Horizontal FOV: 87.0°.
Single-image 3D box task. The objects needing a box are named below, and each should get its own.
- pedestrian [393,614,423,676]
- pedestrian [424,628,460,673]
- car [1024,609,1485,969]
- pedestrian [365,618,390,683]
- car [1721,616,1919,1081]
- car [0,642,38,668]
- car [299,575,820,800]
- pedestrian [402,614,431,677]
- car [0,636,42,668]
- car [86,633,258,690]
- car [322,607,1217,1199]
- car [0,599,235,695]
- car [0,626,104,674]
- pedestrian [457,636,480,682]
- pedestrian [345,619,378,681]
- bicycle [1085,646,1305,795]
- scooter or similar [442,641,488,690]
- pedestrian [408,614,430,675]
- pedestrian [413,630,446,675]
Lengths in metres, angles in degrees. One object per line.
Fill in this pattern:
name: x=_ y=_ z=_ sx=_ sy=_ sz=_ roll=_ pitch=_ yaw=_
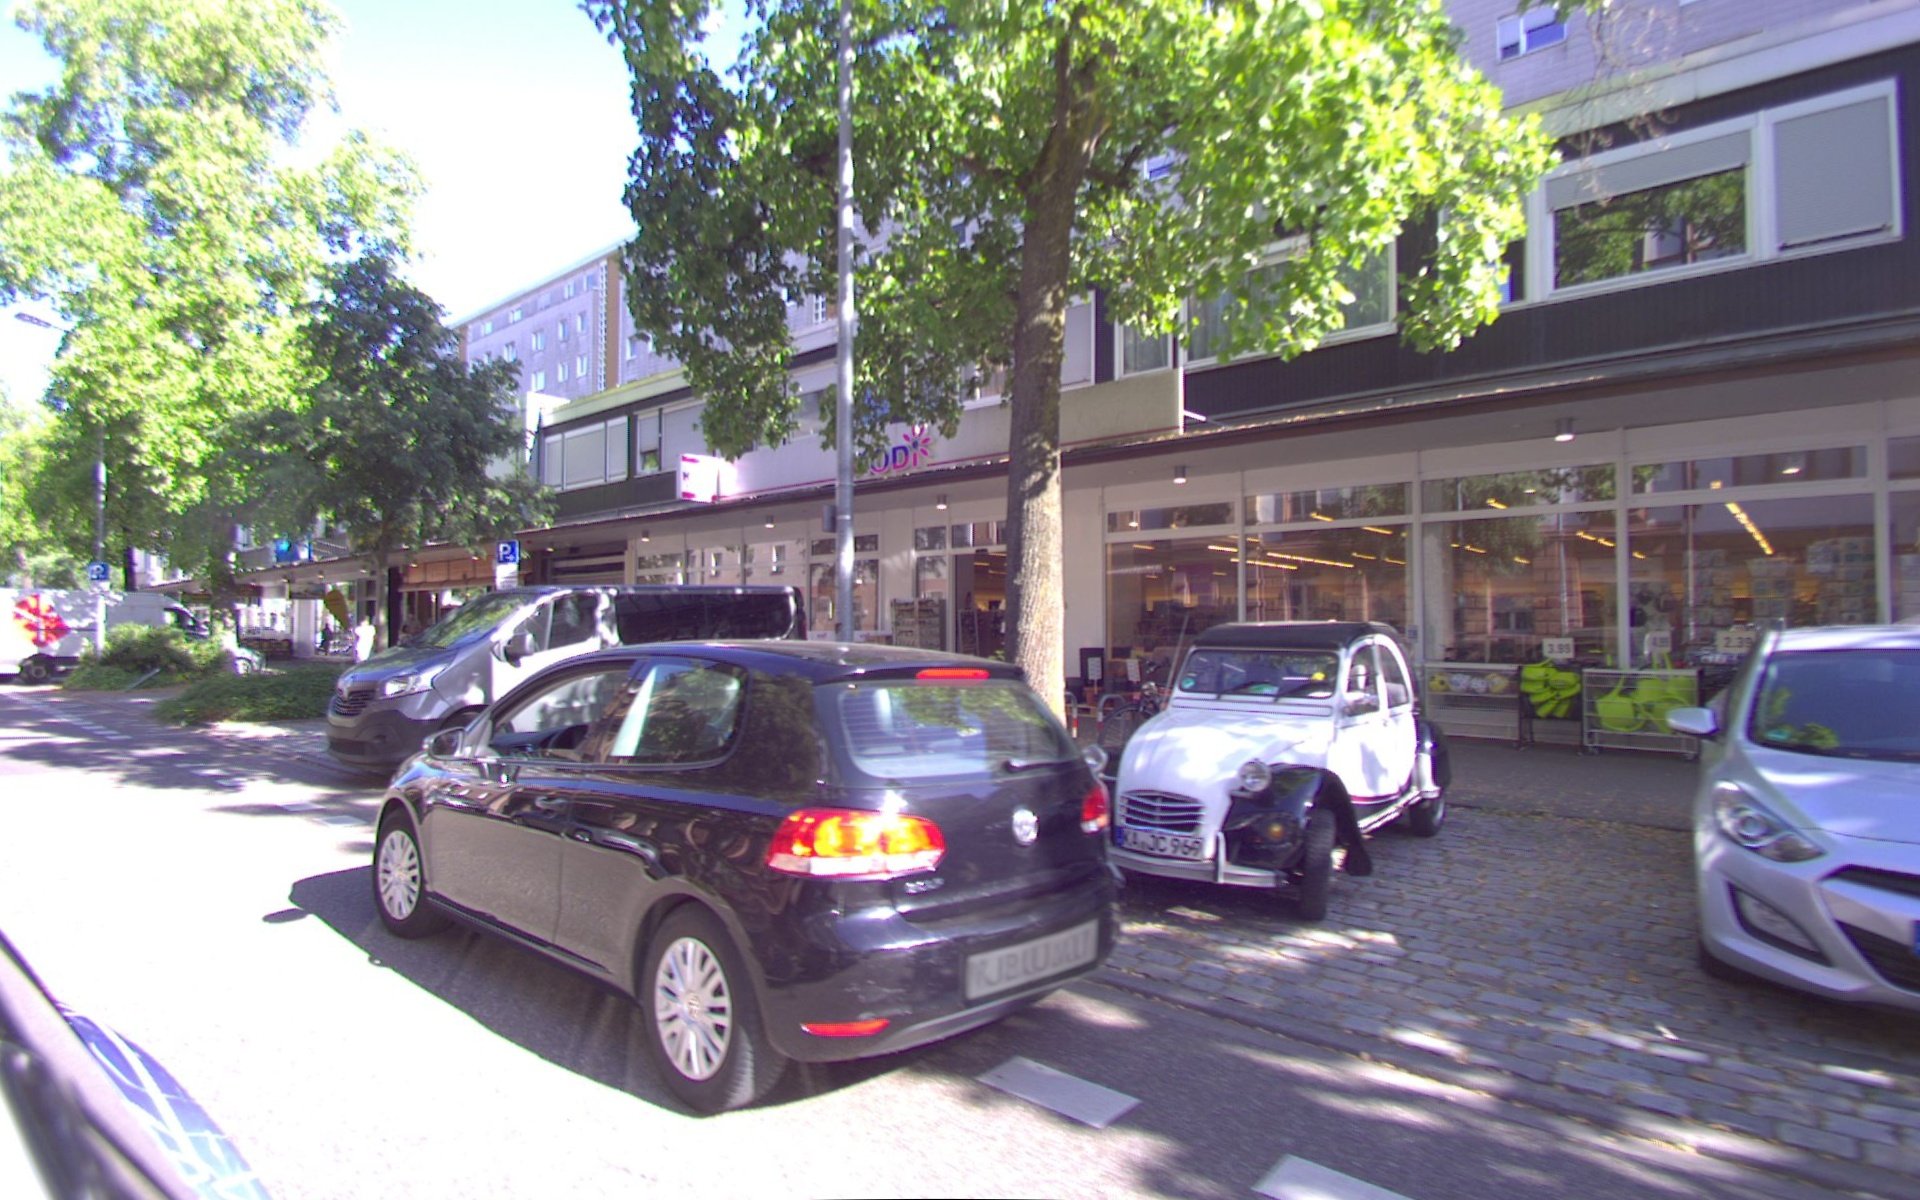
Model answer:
pedestrian: x=-17.290 y=1.396 z=31.696 sx=0.579 sy=1.918 sz=0.588 roll=-2 pitch=-3 yaw=39
pedestrian: x=-14.990 y=1.449 z=29.298 sx=0.897 sy=1.273 sz=0.602 roll=-2 pitch=-2 yaw=38
car: x=2.070 y=0.856 z=6.385 sx=1.681 sy=1.564 sz=3.566 roll=-1 pitch=-1 yaw=36
pedestrian: x=-17.659 y=1.530 z=30.690 sx=0.590 sy=1.950 sz=0.589 roll=1 pitch=-2 yaw=-27
car: x=4.633 y=0.823 z=4.614 sx=1.809 sy=1.474 sz=3.950 roll=-2 pitch=-1 yaw=37
car: x=-54.731 y=3.106 z=56.987 sx=1.758 sy=1.409 sz=3.947 roll=-2 pitch=-3 yaw=39
car: x=-4.256 y=0.808 z=11.605 sx=2.014 sy=1.989 sz=5.237 roll=-2 pitch=-2 yaw=41
pedestrian: x=-16.846 y=1.405 z=31.377 sx=0.579 sy=1.918 sz=0.588 roll=-2 pitch=-3 yaw=40
car: x=-61.510 y=3.323 z=63.975 sx=1.908 sy=1.984 sz=4.933 roll=-2 pitch=-2 yaw=39
car: x=-22.226 y=1.689 z=28.616 sx=1.830 sy=1.431 sz=3.557 roll=-2 pitch=-2 yaw=40
car: x=-1.101 y=0.817 z=4.385 sx=3.958 sy=1.449 sz=1.744 roll=-2 pitch=-3 yaw=41
car: x=-24.935 y=1.281 z=29.232 sx=1.985 sy=2.493 sz=6.559 roll=-1 pitch=-2 yaw=20
car: x=-40.805 y=2.162 z=44.202 sx=1.872 sy=1.953 sz=4.979 roll=-2 pitch=-1 yaw=40
pedestrian: x=-13.586 y=1.634 z=27.957 sx=0.636 sy=1.250 sz=0.325 roll=-2 pitch=-2 yaw=38
pedestrian: x=-17.113 y=1.424 z=28.939 sx=0.599 sy=1.725 sz=0.580 roll=-2 pitch=-2 yaw=35
bicycle: x=2.163 y=1.055 z=9.276 sx=1.953 sy=1.193 sz=0.630 roll=-1 pitch=-1 yaw=-23
scooter or similar: x=-13.100 y=1.719 z=26.813 sx=0.452 sy=1.232 sz=1.315 roll=-1 pitch=0 yaw=7
pedestrian: x=-17.362 y=1.430 z=32.493 sx=0.492 sy=1.918 sz=0.448 roll=-2 pitch=-3 yaw=40
pedestrian: x=-16.217 y=1.585 z=30.921 sx=0.953 sy=1.351 sz=0.558 roll=-2 pitch=-2 yaw=39
